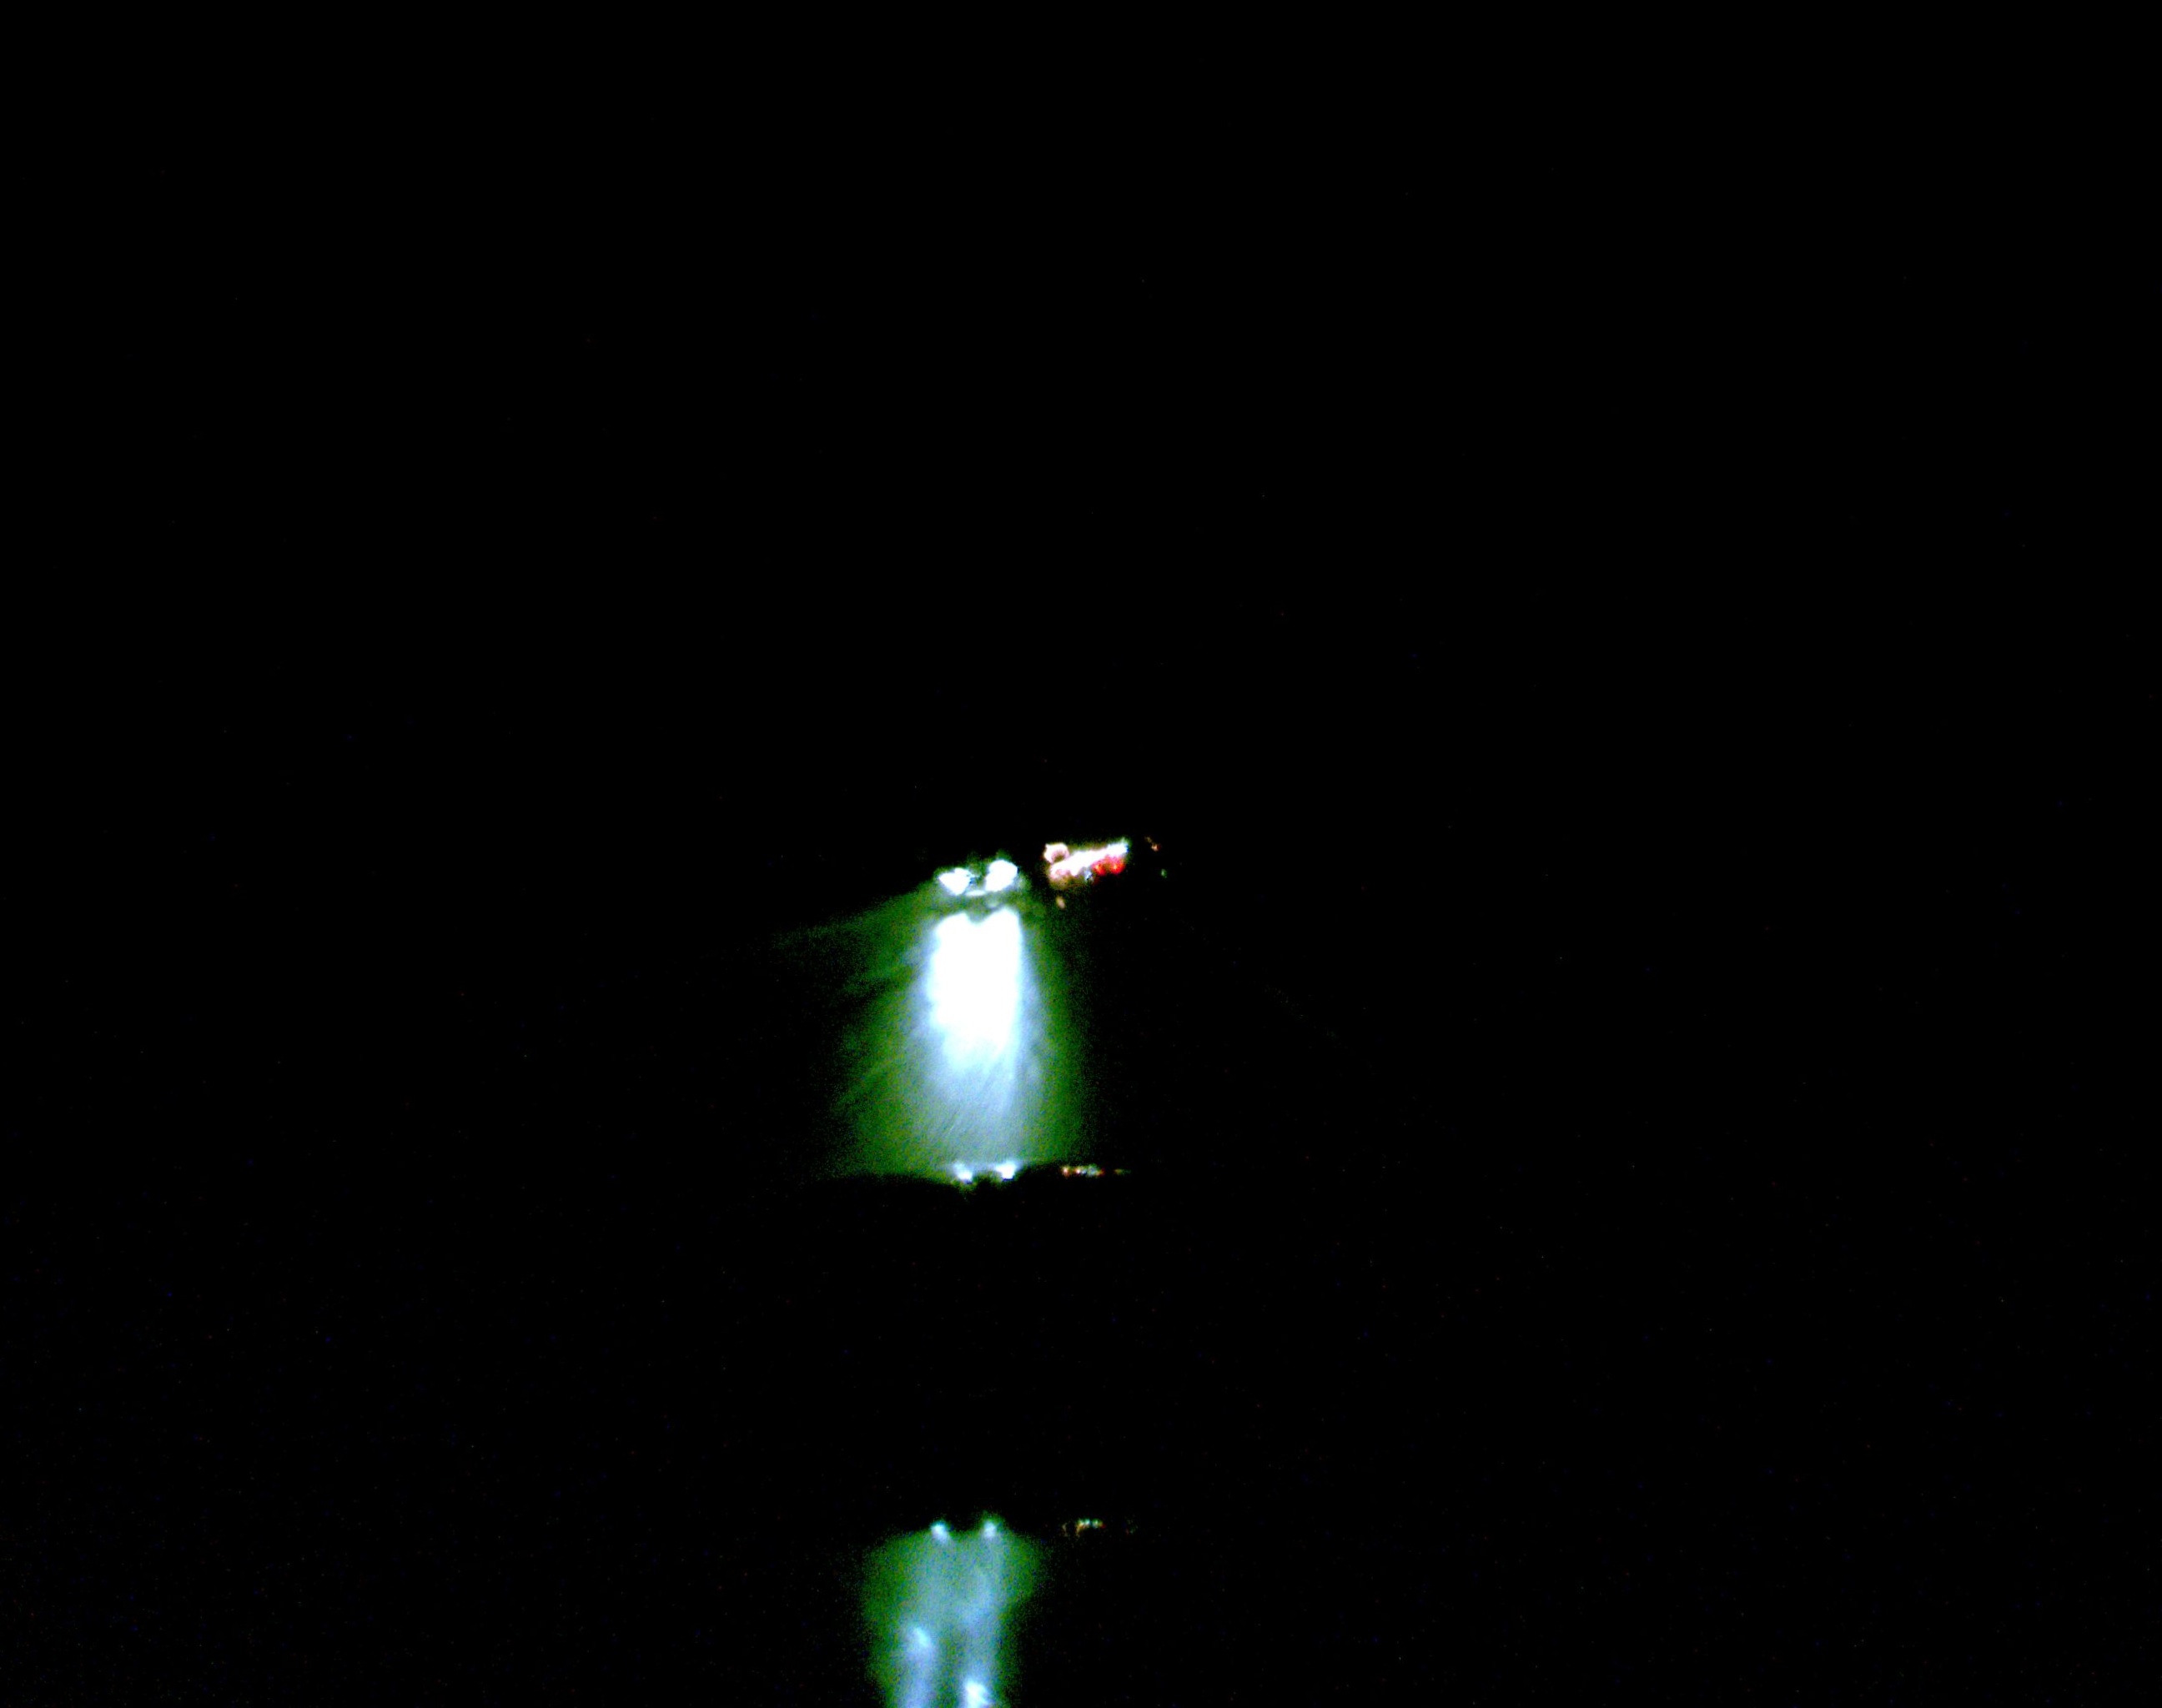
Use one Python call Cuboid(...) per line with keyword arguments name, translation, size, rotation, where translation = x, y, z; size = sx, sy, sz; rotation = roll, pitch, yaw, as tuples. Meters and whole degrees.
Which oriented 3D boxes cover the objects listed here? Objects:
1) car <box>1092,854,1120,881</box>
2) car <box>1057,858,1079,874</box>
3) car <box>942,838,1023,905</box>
Cuboid(name="car", translation=(1.757, 0.906, 57.656), size=(1.836, 1.740, 4.000), rotation=(1, 1, 0))
Cuboid(name="car", translation=(-1.307, 1.238, 84.953), size=(1.986, 1.549, 4.002), rotation=(-2, -1, 2))
Cuboid(name="car", translation=(-3.101, 0.535, 26.463), size=(1.986, 2.014, 4.002), rotation=(0, -1, 2))
